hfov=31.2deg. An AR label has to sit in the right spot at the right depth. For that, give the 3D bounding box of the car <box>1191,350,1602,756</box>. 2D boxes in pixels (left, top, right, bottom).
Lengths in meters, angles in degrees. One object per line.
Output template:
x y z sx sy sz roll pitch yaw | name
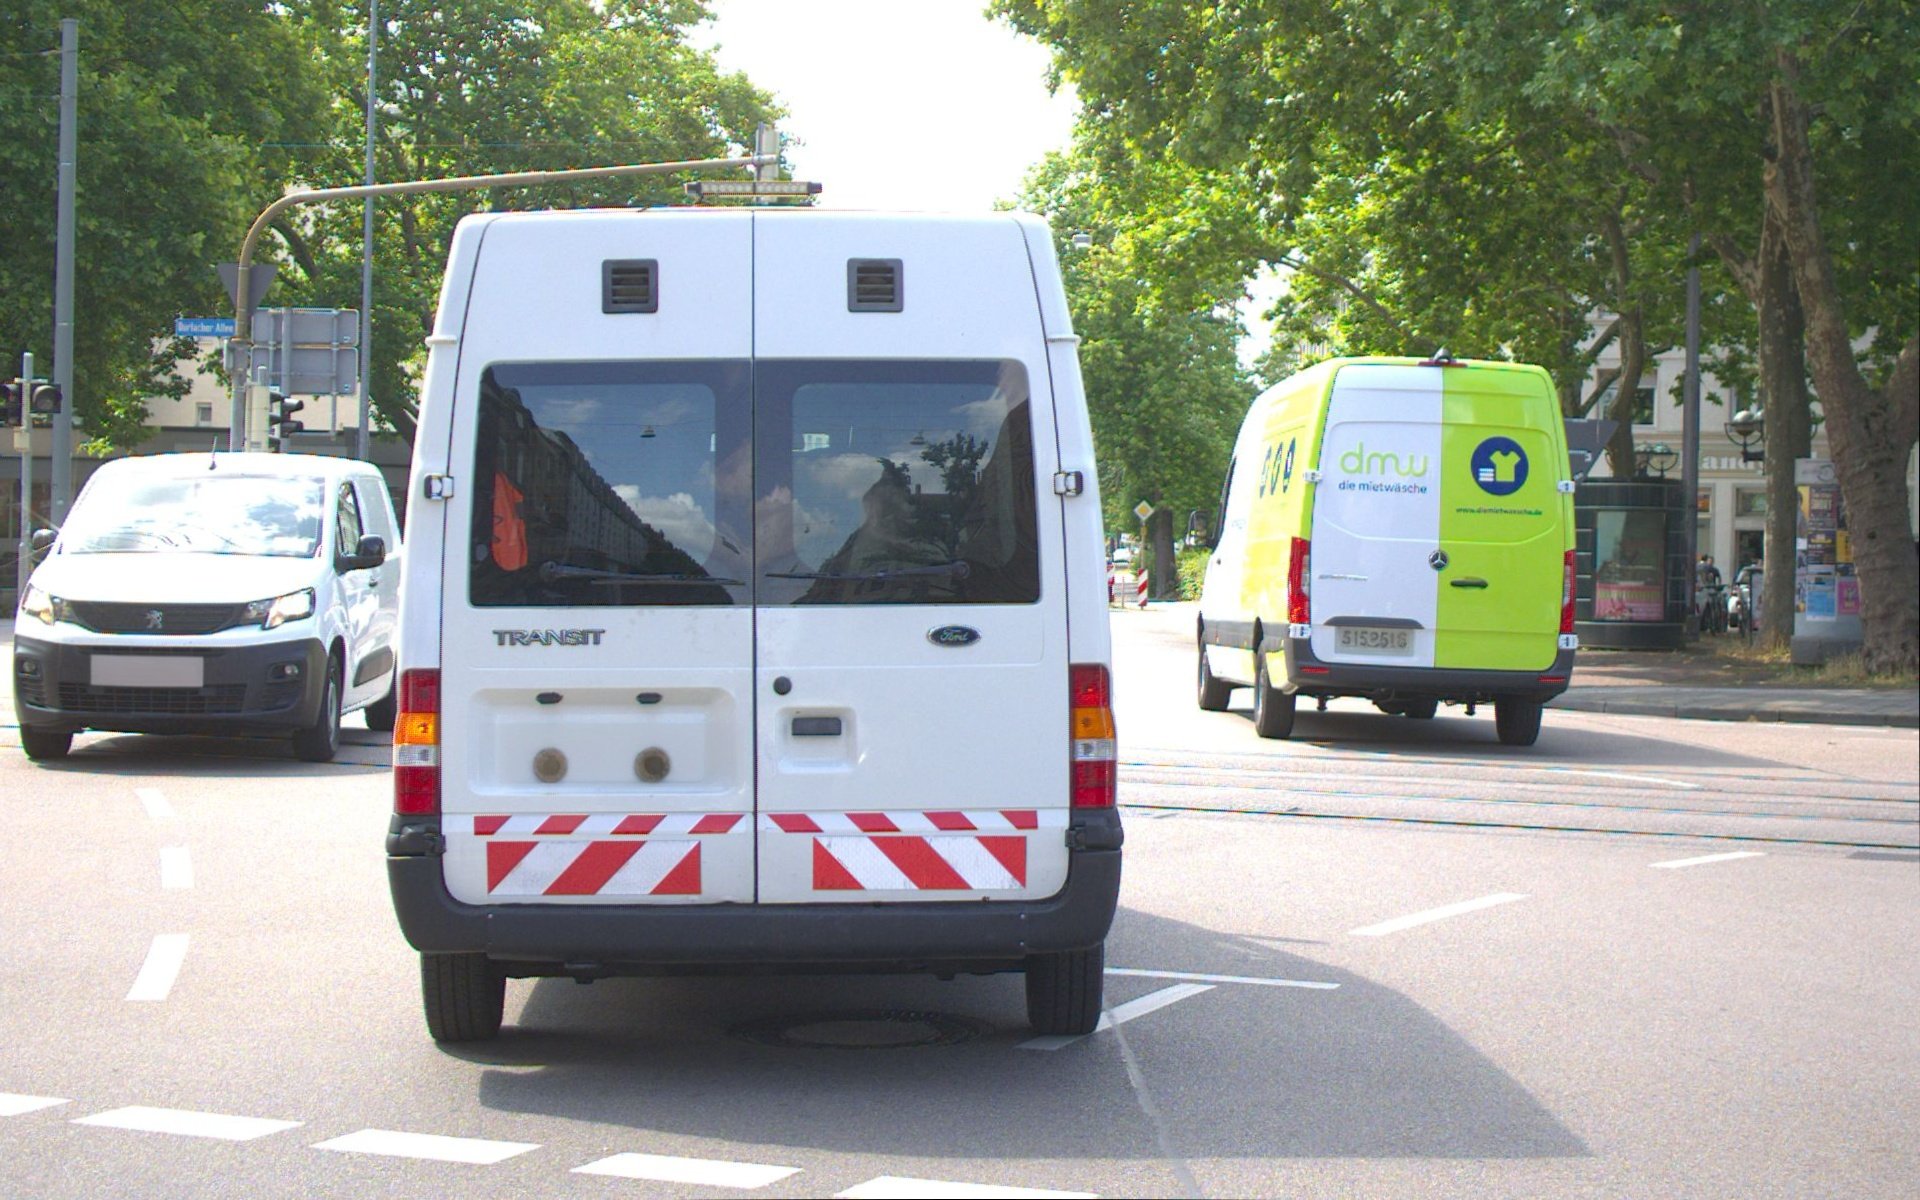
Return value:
3.084 -0.375 25.770 2.119 2.632 6.329 1 1 -1 | car

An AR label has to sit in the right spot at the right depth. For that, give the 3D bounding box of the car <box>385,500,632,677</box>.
-4.299 -0.161 33.275 1.770 1.577 4.021 1 2 1 | car

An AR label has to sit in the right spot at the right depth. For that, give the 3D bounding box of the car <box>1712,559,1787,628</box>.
19.834 -0.168 86.293 1.467 1.660 3.064 2 1 19 | car

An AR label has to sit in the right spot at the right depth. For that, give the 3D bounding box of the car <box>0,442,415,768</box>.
-4.490 -0.049 20.929 1.812 1.769 4.284 0 2 -2 | car

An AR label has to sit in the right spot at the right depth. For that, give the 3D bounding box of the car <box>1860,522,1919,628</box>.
20.566 -0.517 73.244 1.996 2.175 4.252 2 1 24 | car

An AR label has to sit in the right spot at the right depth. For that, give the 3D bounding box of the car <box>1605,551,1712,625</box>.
17.740 -0.298 87.171 1.907 1.789 4.716 1 1 21 | car

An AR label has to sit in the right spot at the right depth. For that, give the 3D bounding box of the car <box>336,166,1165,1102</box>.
-0.623 0.030 11.019 2.047 2.325 4.715 1 2 -2 | car

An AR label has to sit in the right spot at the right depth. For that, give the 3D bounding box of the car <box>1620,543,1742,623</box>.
16.075 -0.378 76.494 1.907 1.684 4.533 1 1 21 | car

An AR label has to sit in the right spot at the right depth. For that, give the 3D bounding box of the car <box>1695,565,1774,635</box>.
16.022 -0.011 71.067 1.466 1.384 3.065 2 1 15 | car
